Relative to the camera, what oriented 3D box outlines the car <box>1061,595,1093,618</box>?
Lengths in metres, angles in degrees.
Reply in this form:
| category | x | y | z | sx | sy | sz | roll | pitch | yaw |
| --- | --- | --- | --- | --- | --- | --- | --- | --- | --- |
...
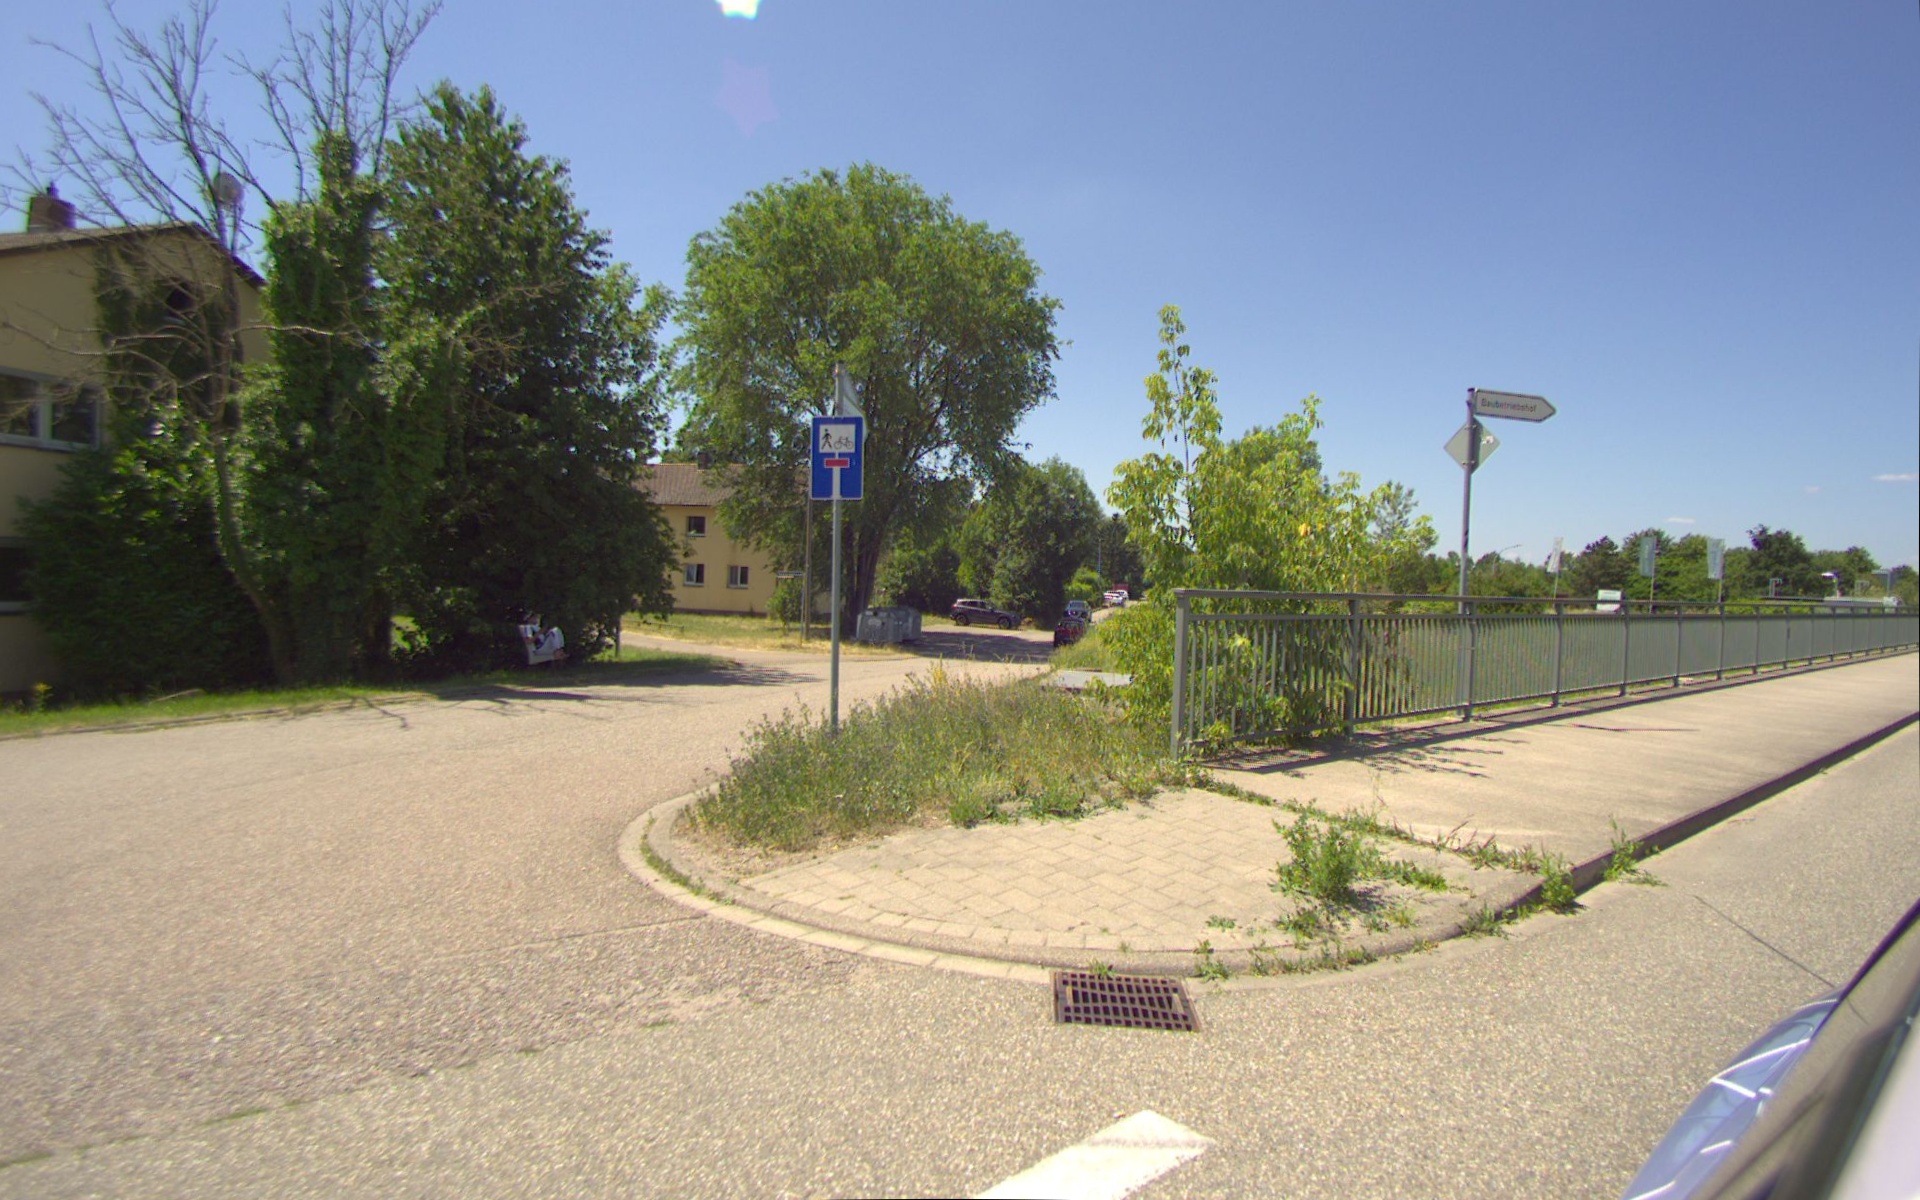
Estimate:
| category | x | y | z | sx | sy | sz | roll | pitch | yaw |
| --- | --- | --- | --- | --- | --- | --- | --- | --- | --- |
| car | 9.120 | 0.462 | 78.615 | 1.969 | 1.644 | 4.497 | 3 | 1 | 12 |

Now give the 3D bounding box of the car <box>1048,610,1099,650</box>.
| category | x | y | z | sx | sy | sz | roll | pitch | yaw |
| --- | --- | --- | --- | --- | --- | --- | --- | --- | --- |
| car | 5.589 | 1.412 | 49.249 | 1.969 | 1.644 | 4.497 | 3 | 1 | 12 |

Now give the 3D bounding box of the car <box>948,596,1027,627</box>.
| category | x | y | z | sx | sy | sz | roll | pitch | yaw |
| --- | --- | --- | --- | --- | --- | --- | --- | --- | --- |
| car | 1.679 | 0.680 | 61.536 | 4.444 | 1.644 | 1.993 | 3 | 1 | 12 |

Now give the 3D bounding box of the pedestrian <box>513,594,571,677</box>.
| category | x | y | z | sx | sy | sz | roll | pitch | yaw |
| --- | --- | --- | --- | --- | --- | --- | --- | --- | --- |
| pedestrian | -7.685 | 0.652 | 18.597 | 0.833 | 1.410 | 0.684 | 5 | 2 | -28 |
